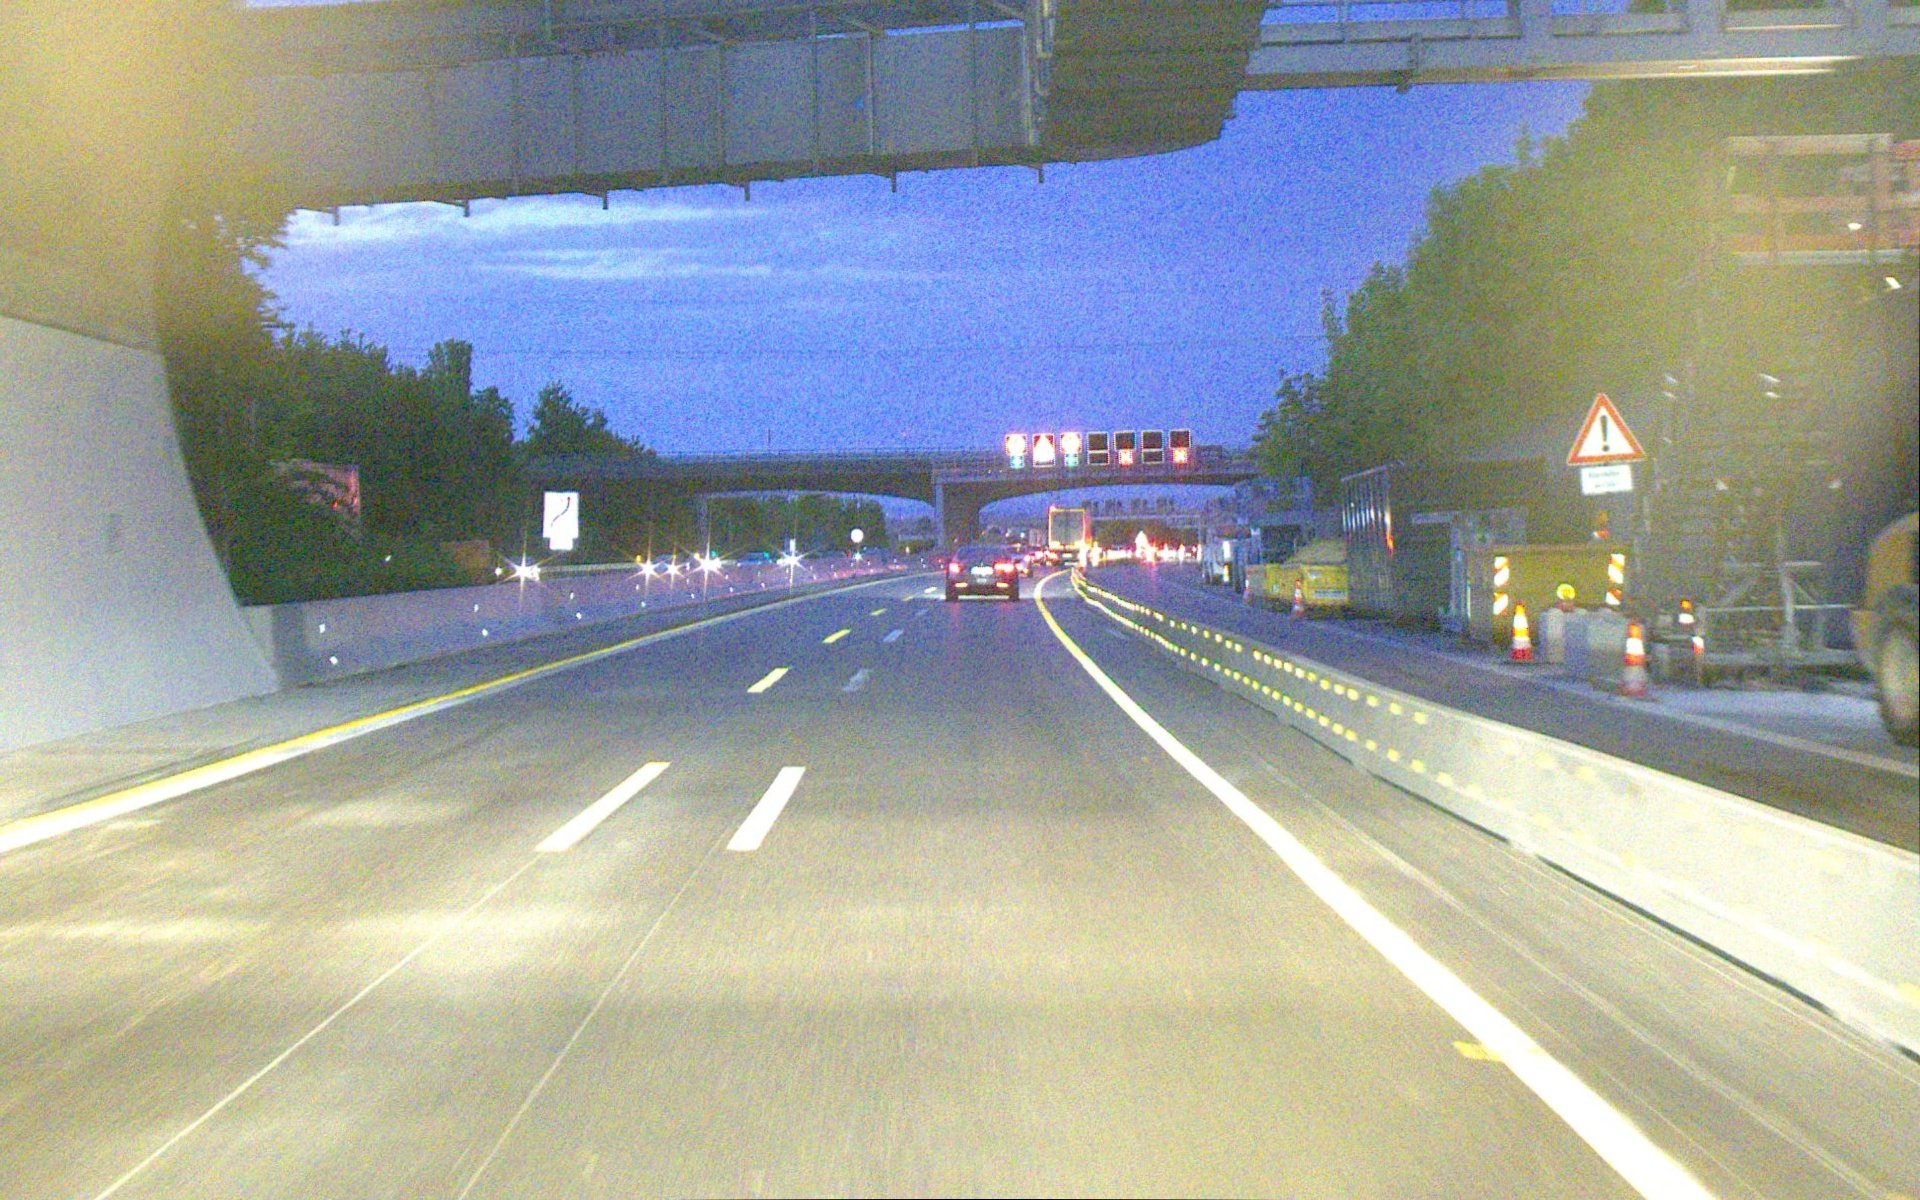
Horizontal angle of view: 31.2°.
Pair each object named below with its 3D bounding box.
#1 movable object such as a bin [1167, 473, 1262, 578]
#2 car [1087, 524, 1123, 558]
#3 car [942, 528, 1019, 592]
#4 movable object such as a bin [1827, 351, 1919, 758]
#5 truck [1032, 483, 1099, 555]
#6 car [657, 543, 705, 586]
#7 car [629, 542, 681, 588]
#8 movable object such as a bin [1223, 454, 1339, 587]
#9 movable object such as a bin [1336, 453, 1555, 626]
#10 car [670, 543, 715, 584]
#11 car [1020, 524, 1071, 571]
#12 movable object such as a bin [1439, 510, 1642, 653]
[{"bbox_3d":[8.555,-2.504,116.303,2.737,3.443,6.947,0,1,0],"label":"movable object such as a bin"},{"bbox_3d":[8.656,-3.552,205.517,1.993,2.007,4.000,0,1,0],"label":"car"},{"bbox_3d":[0.549,-1.018,88.003,1.888,1.601,4.000,0,1,2],"label":"car"},{"bbox_3d":[7.702,-0.292,22.316,2.238,2.784,7.233,0,1,-1],"label":"movable object such as a bin"},{"bbox_3d":[7.406,-5.689,242.691,4.546,4.970,9.599,0,1,0],"label":"truck"},{"bbox_3d":[-13.205,-1.707,162.713,1.993,2.007,4.000,0,1,-1],"label":"car"},{"bbox_3d":[-13.518,-1.560,152.617,1.993,2.007,4.000,0,1,-1],"label":"car"},{"bbox_3d":[9.042,-2.225,97.372,2.737,3.666,6.333,0,1,0],"label":"movable object such as a bin"},{"bbox_3d":[8.077,-1.006,57.989,2.737,2.744,7.050,0,1,0],"label":"movable object such as a bin"},{"bbox_3d":[-13.183,-1.808,169.637,1.993,2.007,4.000,0,1,-1],"label":"car"},{"bbox_3d":[3.719,-2.290,149.225,1.994,2.007,4.000,0,1,5],"label":"car"},{"bbox_3d":[7.589,-0.262,45.295,1.978,1.809,3.837,0,1,-1],"label":"movable object such as a bin"}]
